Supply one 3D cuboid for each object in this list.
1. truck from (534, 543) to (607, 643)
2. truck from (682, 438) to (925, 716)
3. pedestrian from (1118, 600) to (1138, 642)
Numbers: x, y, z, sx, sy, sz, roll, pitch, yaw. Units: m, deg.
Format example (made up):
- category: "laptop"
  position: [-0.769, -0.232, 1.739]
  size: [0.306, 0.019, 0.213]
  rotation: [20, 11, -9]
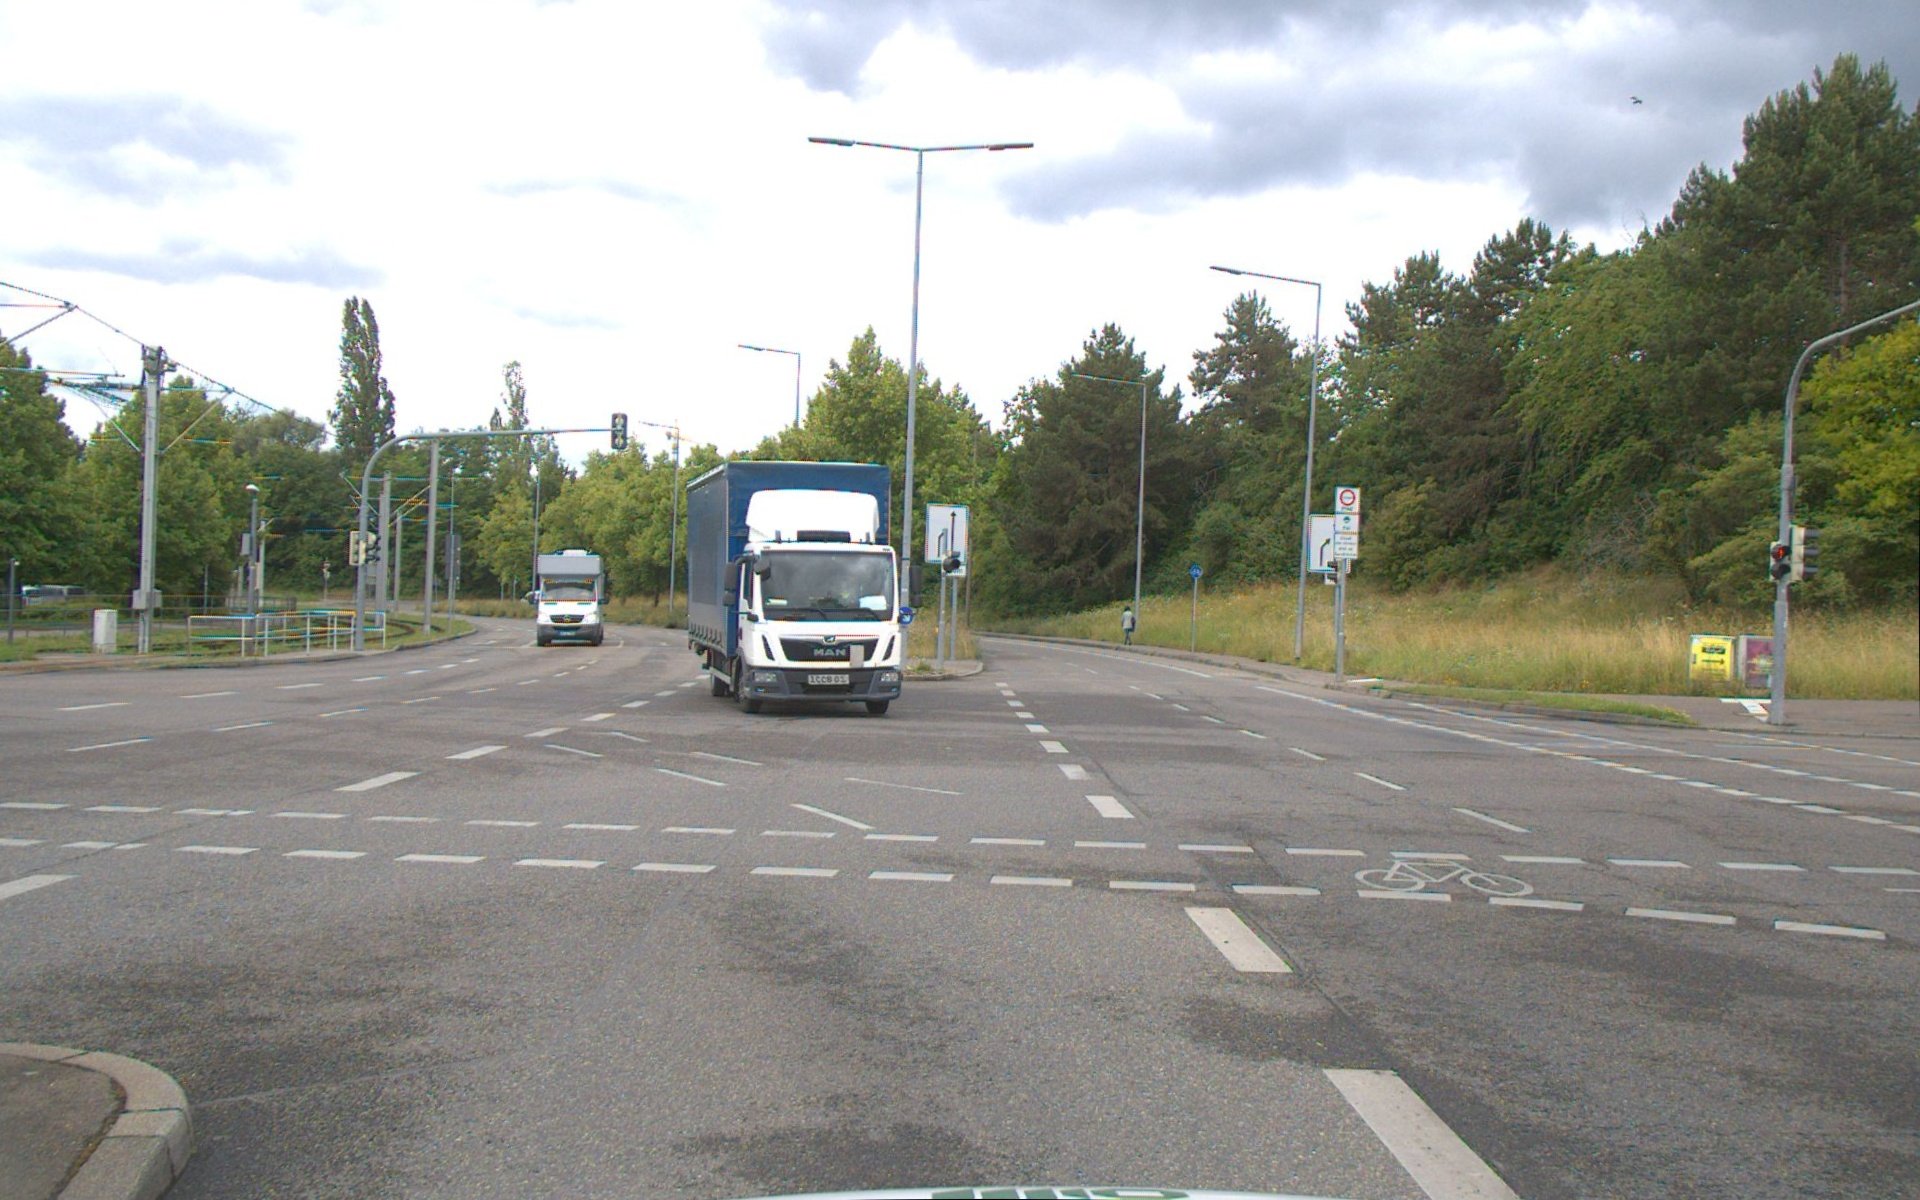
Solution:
- category: "truck"
  position: [-12.877, -0.209, 54.950]
  size: [2.068, 3.063, 6.255]
  rotation: [-2, 0, -12]
- category: "truck"
  position: [-2.871, -0.309, 27.414]
  size: [2.732, 3.871, 8.357]
  rotation: [1, 0, -14]
- category: "pedestrian"
  position: [7.168, 0.892, 70.573]
  size: [0.724, 1.747, 0.625]
  rotation: [1, 0, -1]
